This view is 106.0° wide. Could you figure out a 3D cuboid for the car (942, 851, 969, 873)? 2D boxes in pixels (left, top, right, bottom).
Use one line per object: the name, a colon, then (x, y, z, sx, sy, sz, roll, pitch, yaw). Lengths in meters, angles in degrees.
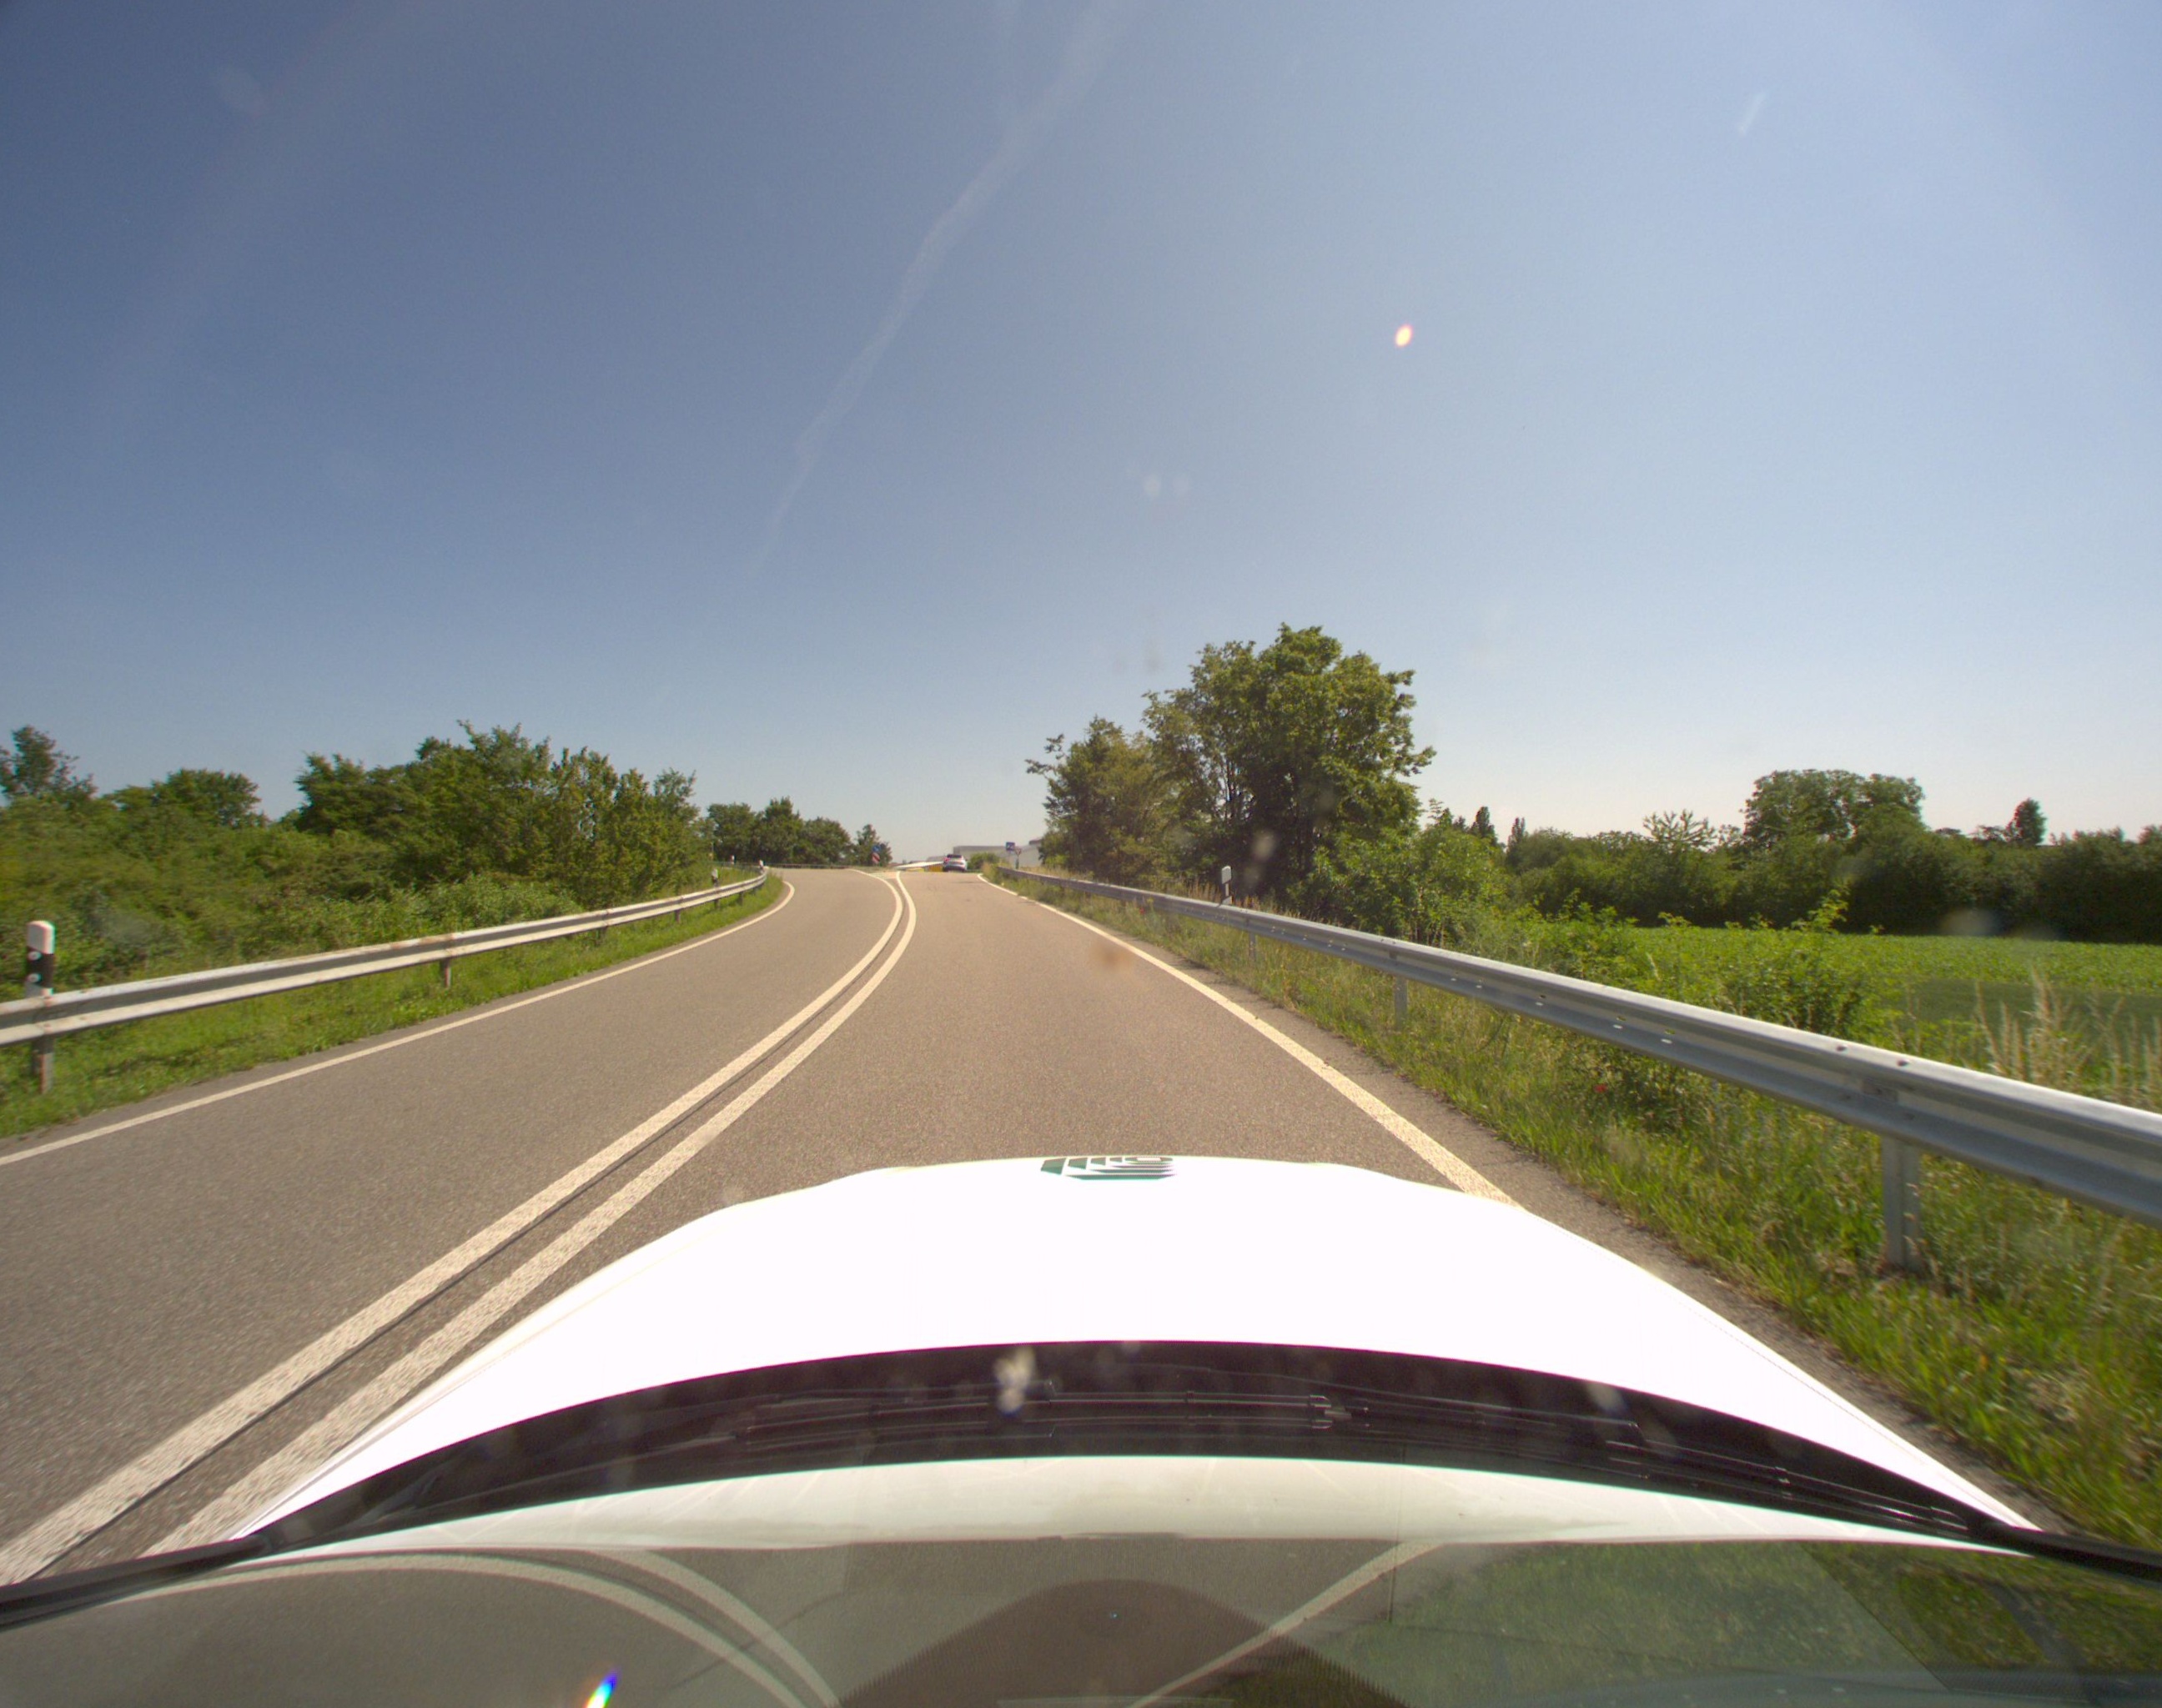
car: (-10.411, 0.667, 67.593, 1.805, 1.691, 3.994, -1, -2, -4)
